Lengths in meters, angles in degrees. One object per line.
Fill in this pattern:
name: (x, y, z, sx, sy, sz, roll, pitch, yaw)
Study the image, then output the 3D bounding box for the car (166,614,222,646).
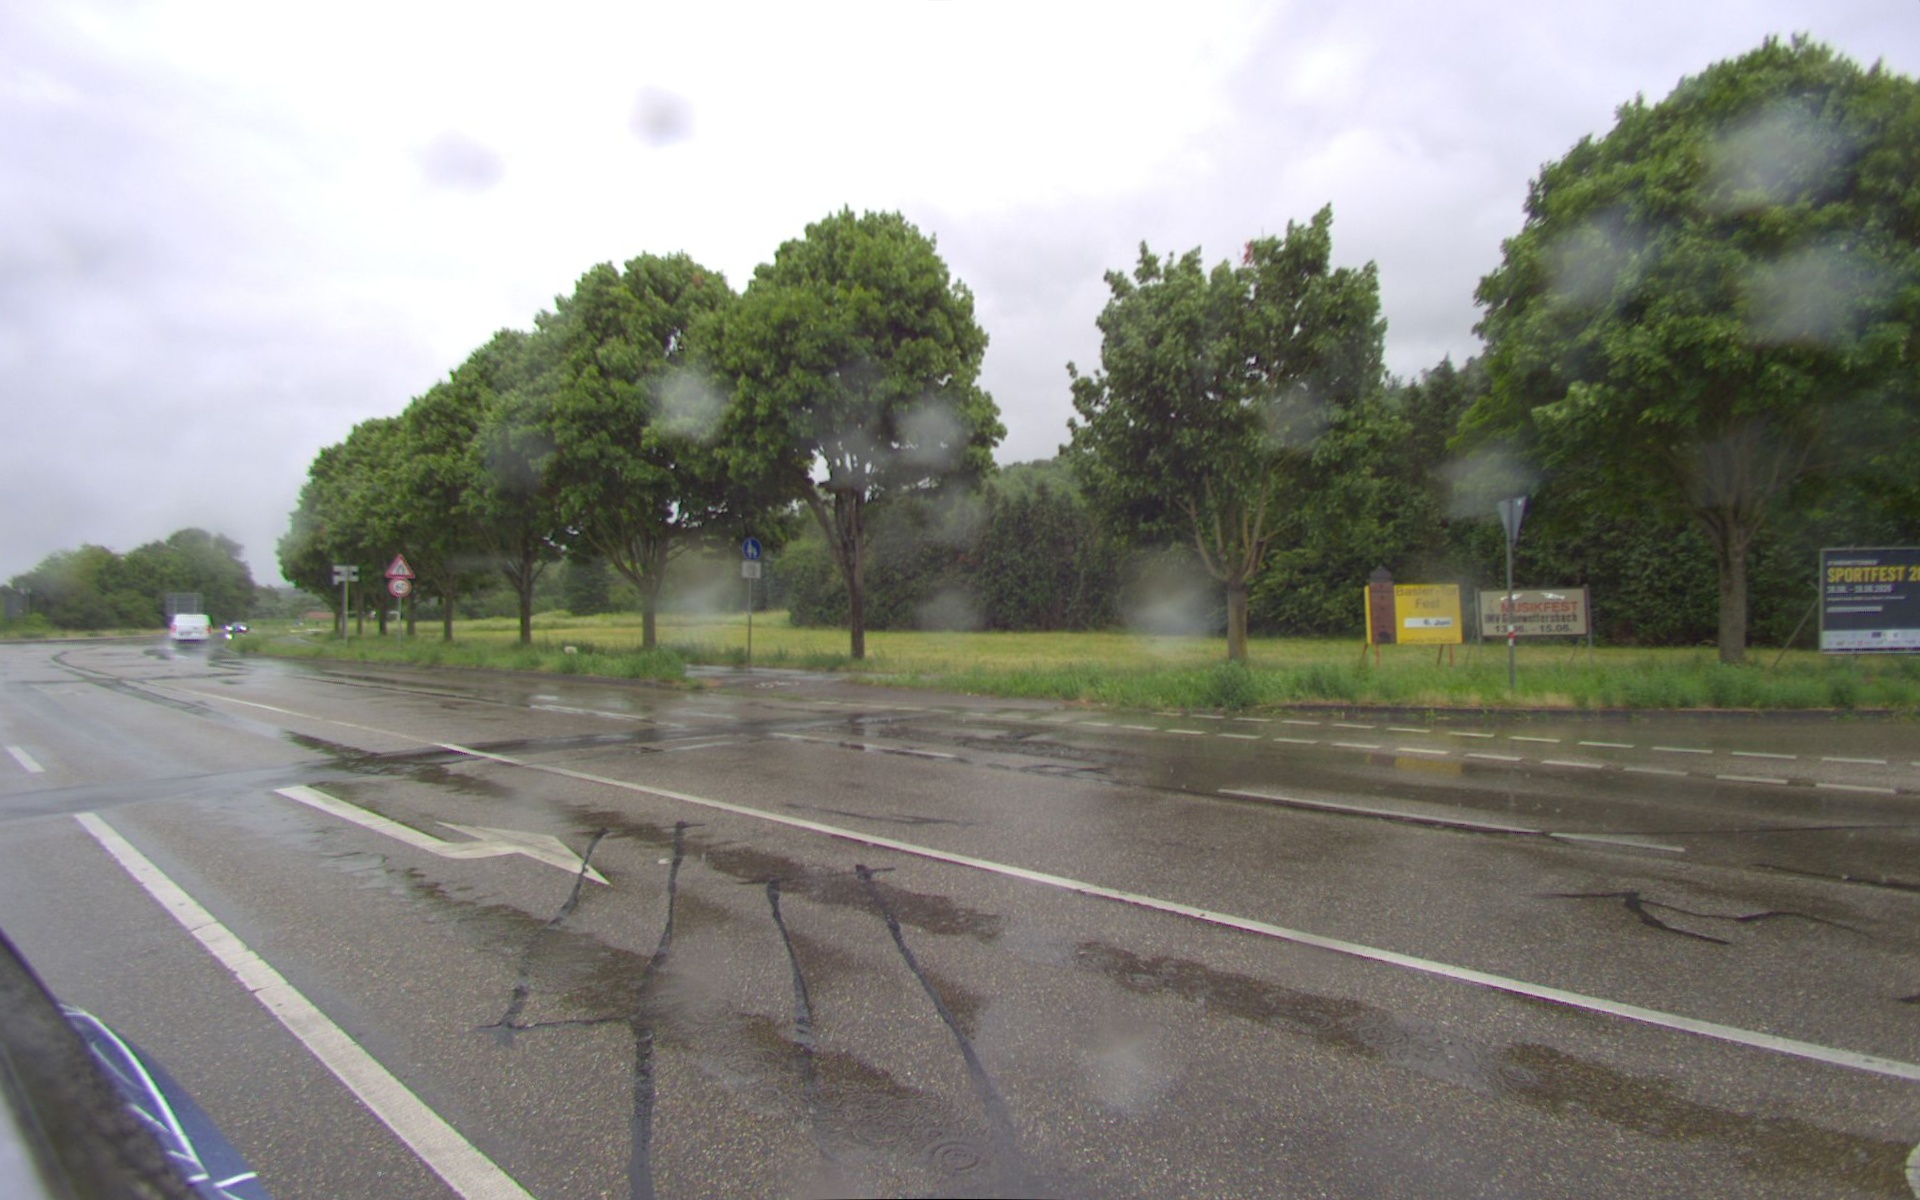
car: (-47.313, 1.817, 62.589, 2.077, 1.907, 4.806, 0, -1, -29)

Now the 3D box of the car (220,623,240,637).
car: (-89.363, 3.703, 123.926, 1.886, 1.597, 4.112, 0, -1, -37)
